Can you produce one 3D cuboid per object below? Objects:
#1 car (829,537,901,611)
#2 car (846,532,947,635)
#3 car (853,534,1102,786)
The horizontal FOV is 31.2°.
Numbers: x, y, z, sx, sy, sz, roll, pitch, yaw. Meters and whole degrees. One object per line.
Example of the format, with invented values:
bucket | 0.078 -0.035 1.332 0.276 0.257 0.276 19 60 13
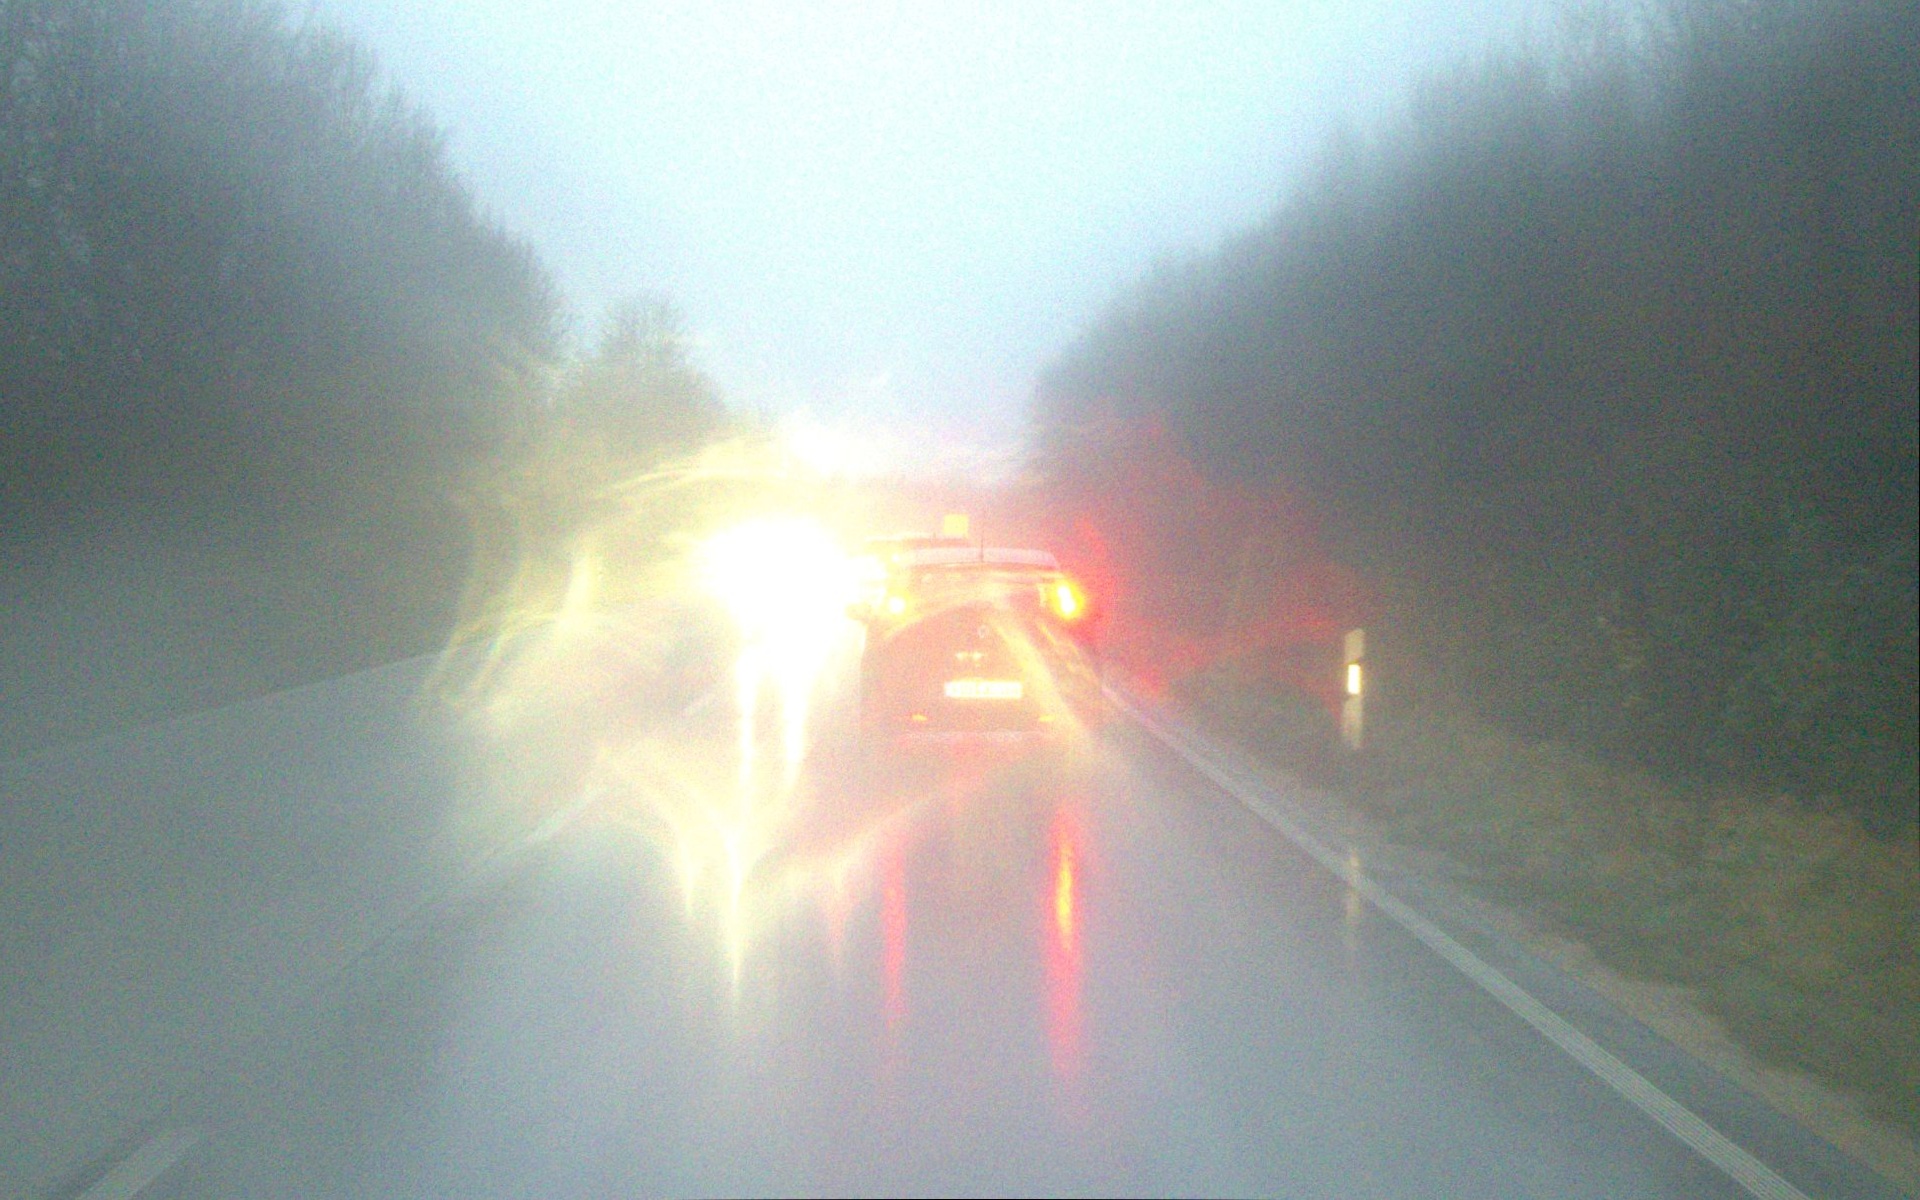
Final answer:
car | -2.333 -0.653 85.072 1.733 1.773 4.000 1 1 -1
car | -1.145 -0.314 61.390 1.733 1.773 4.000 1 1 -1
car | 0.145 0.376 24.733 1.648 1.666 3.514 1 1 1
